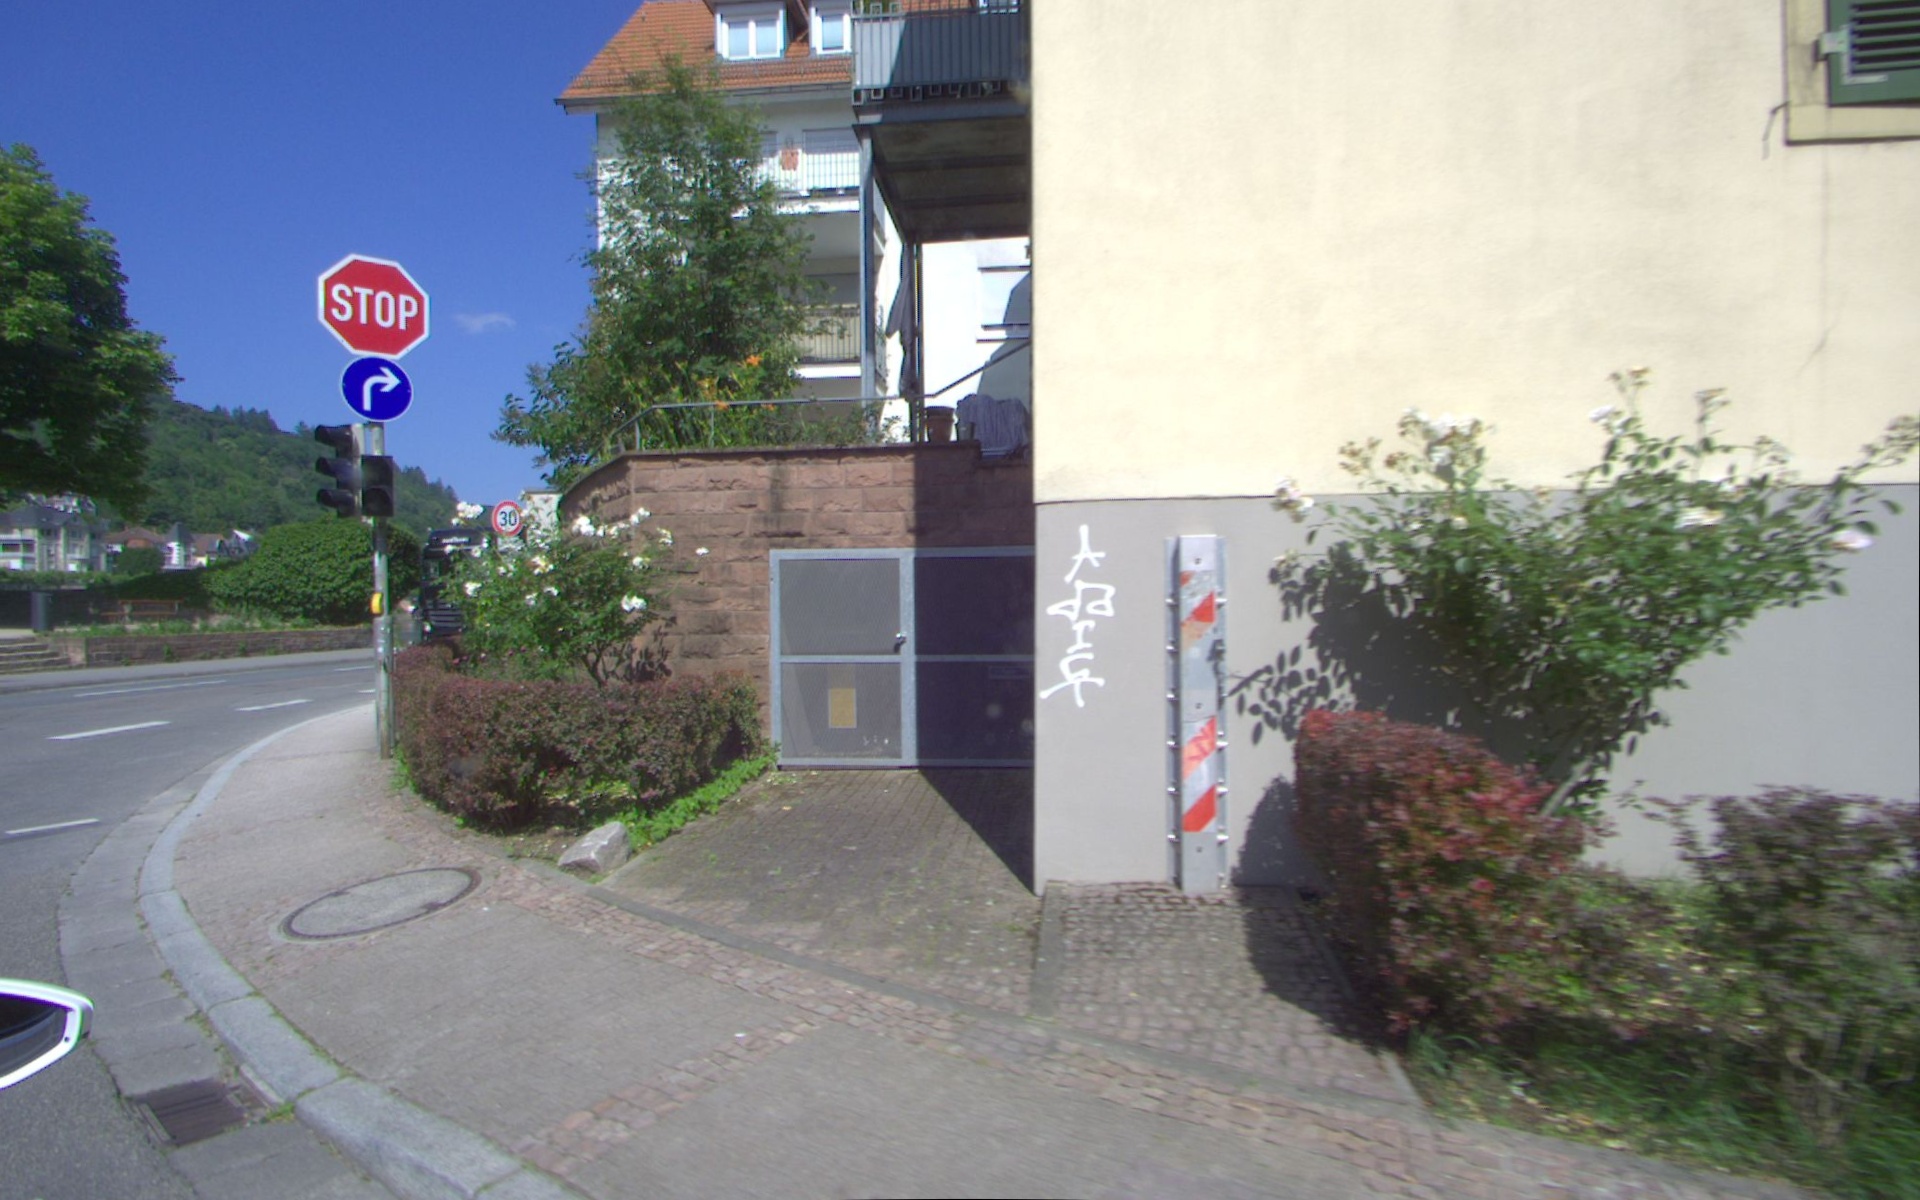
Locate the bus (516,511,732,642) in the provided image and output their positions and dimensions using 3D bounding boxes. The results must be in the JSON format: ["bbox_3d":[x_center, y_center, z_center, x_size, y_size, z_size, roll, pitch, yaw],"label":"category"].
[{"bbox_3d":[-11.357,-0.658,35.761,2.850,3.838,12.179,-1,0,4],"label":"bus"}]

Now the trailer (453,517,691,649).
[{"bbox_3d":[-14.419,-0.545,39.280,2.787,4.158,13.769,-2,0,5],"label":"trailer"}]

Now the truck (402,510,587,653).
[{"bbox_3d":[-14.954,-0.537,32.734,2.785,4.125,5.931,-2,0,5],"label":"truck"}]
